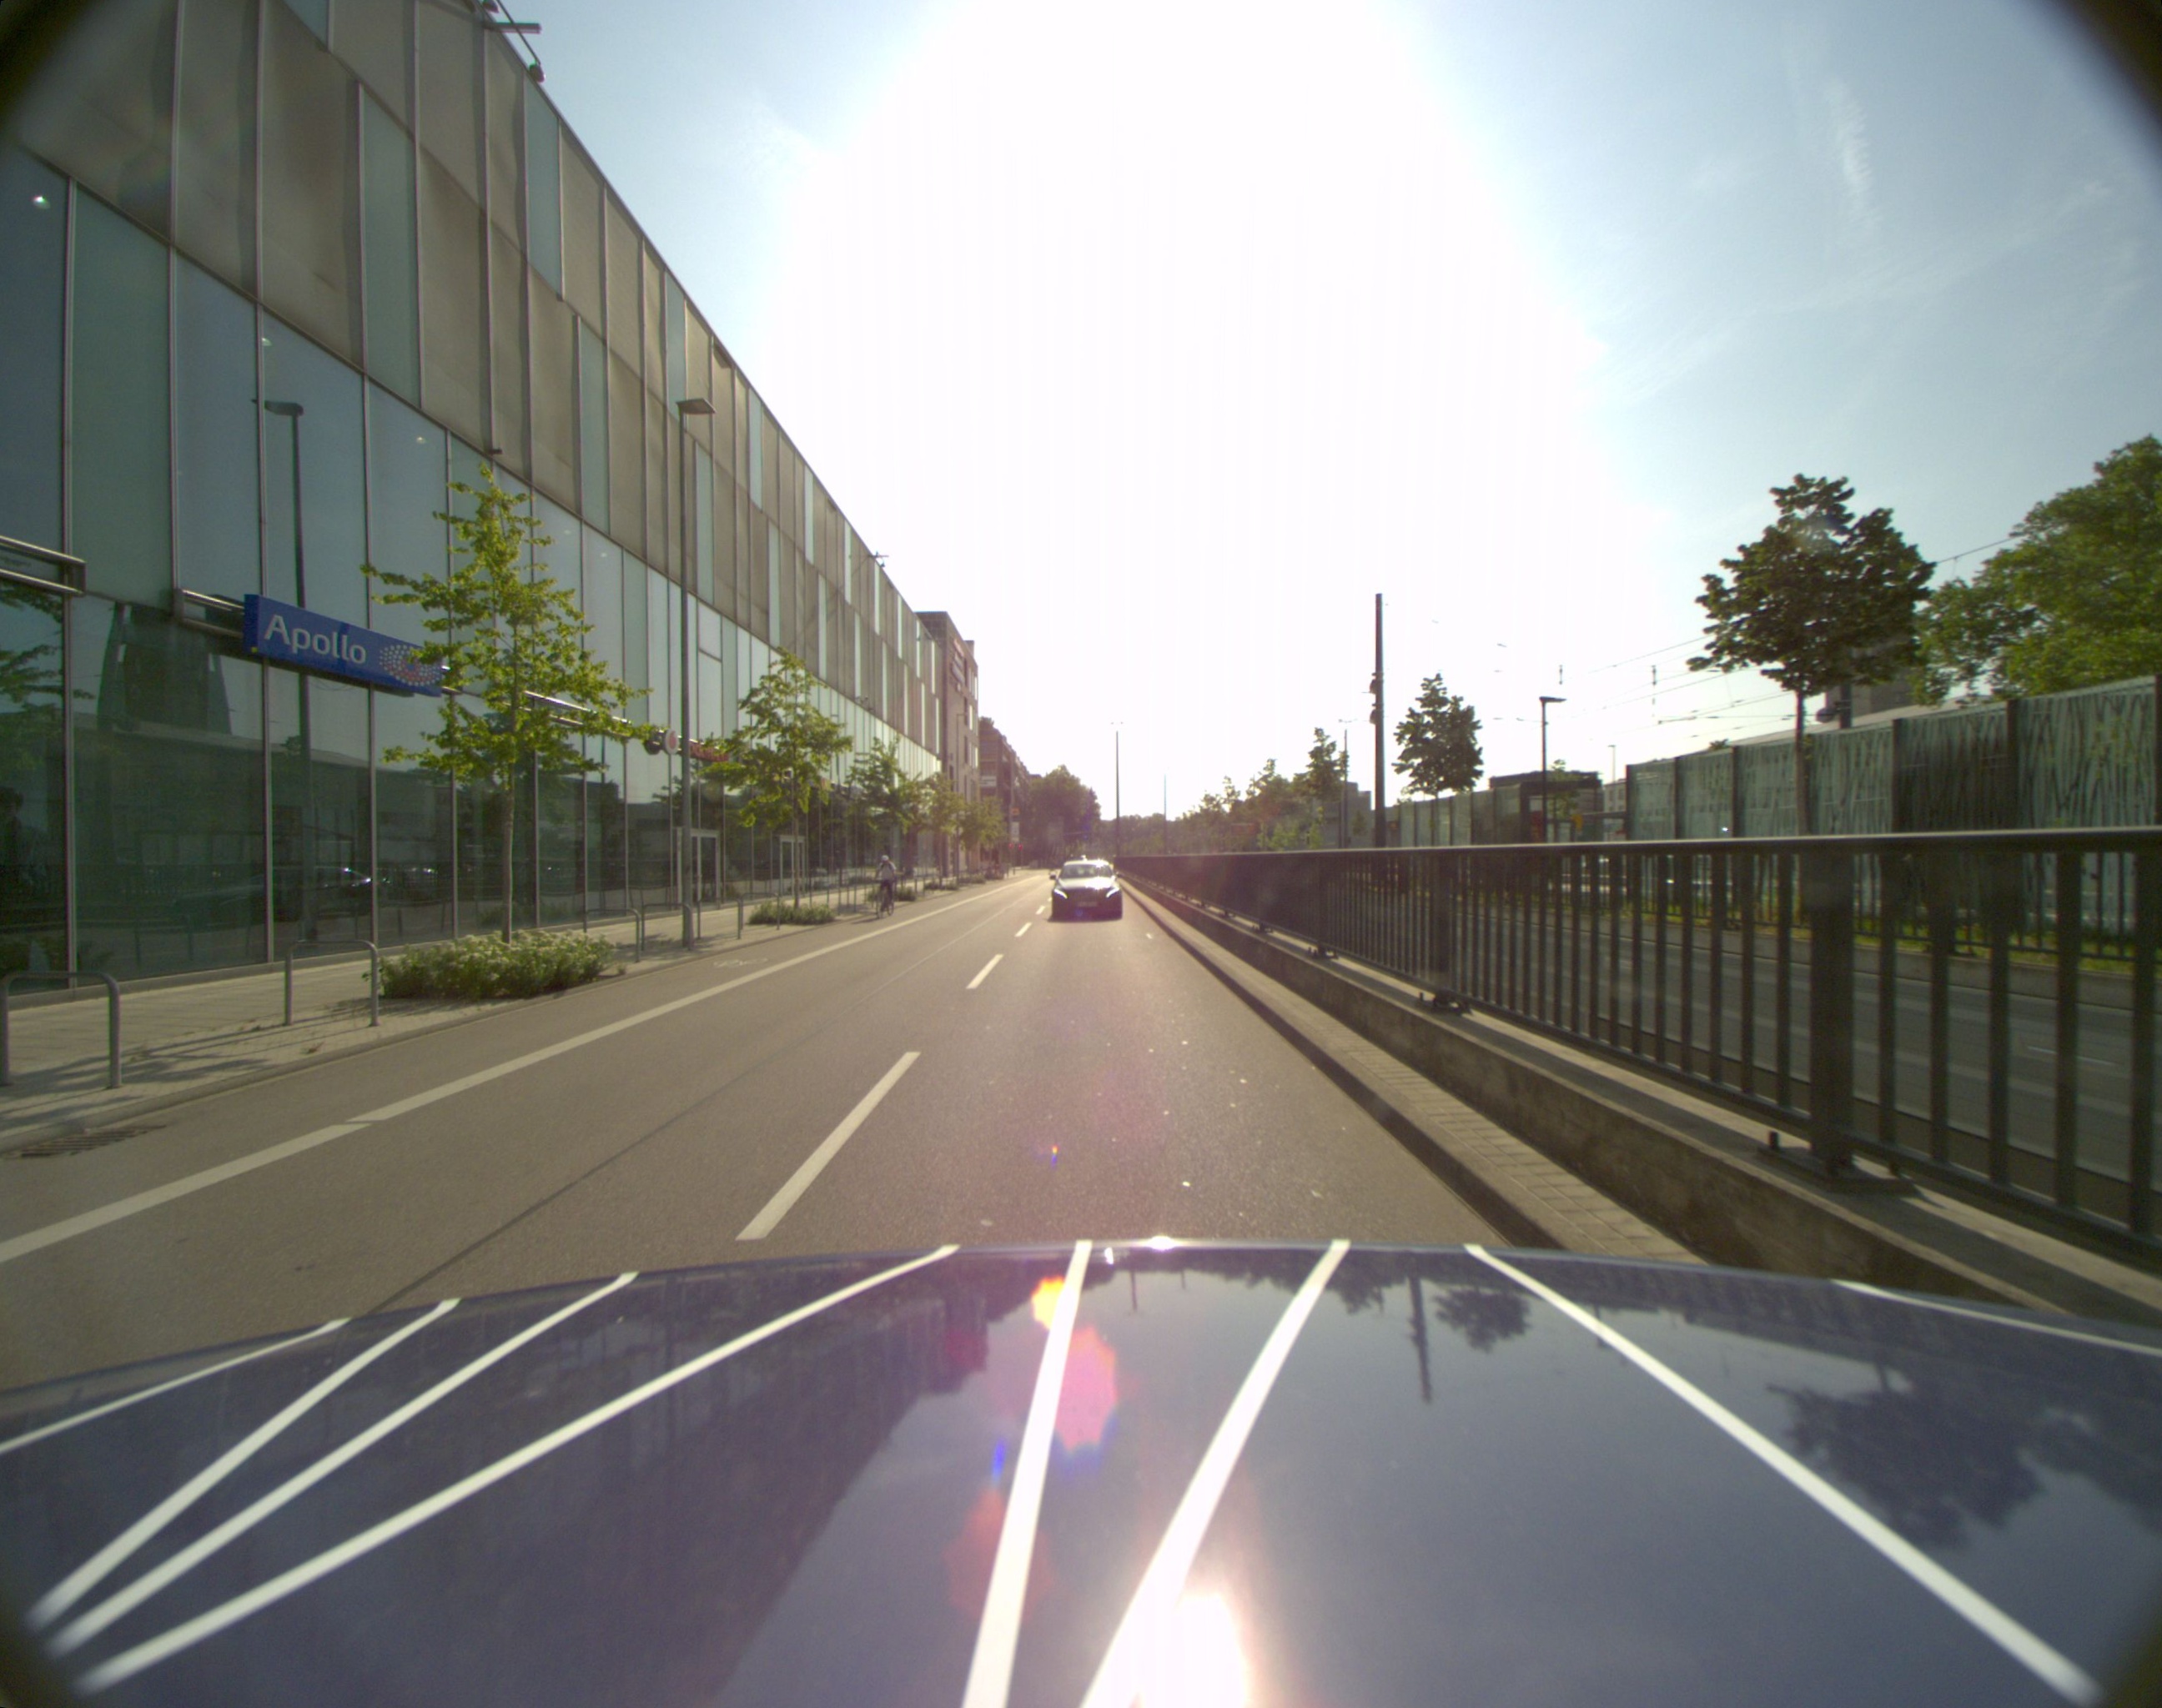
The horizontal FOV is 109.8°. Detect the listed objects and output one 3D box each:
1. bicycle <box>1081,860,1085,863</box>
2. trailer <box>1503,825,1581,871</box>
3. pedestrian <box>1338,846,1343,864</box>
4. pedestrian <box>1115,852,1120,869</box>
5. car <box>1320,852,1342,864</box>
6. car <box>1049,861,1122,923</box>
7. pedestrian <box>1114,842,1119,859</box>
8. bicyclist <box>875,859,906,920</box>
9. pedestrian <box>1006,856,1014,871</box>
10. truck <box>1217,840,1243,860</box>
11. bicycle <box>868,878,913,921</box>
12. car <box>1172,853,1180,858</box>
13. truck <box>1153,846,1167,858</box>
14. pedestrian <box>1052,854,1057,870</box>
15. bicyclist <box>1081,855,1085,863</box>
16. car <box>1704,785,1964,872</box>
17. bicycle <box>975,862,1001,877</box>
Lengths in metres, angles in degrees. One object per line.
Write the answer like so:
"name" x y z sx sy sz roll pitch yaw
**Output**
"bicycle" 0.390 1.439 146.026 0.630 0.702 1.808 -1 0 -8
"trailer" 30.308 -0.396 50.120 2.050 2.764 5.021 -2 0 0
"pedestrian" 25.289 0.102 73.991 0.371 1.666 0.641 -1 1 17
"pedestrian" 3.530 0.658 73.868 0.468 1.640 0.777 -1 0 1
"car" 30.744 0.445 93.399 1.600 1.455 3.434 -1 0 1
"car" 0.251 0.958 21.170 1.716 1.429 5.058 -1 0 4
"pedestrian" 3.553 -0.376 75.367 0.468 1.640 0.777 -1 0 1
"bicyclist" -5.540 1.010 22.087 0.652 1.738 0.769 -1 0 3
"pedestrian" -6.894 0.949 74.045 0.710 1.479 0.604 -1 0 -6
"truck" 27.561 -0.669 140.836 3.029 3.565 8.891 -1 0 1
"bicycle" -5.543 1.300 22.202 0.662 1.111 2.051 -1 0 4
"car" 27.225 0.417 217.601 1.644 1.592 3.999 -1 0 -3
"truck" 25.668 -0.571 246.139 2.980 3.787 10.420 -1 0 -2
"pedestrian" -2.691 0.820 76.563 0.468 1.640 0.777 -1 0 1
"bicyclist" 0.409 1.020 145.981 0.612 1.504 0.813 -1 0 -9
"car" 34.542 -1.052 35.633 3.062 3.492 9.233 -1 0 0
"bicycle" -7.029 1.146 57.672 1.882 1.103 0.490 -1 0 3
